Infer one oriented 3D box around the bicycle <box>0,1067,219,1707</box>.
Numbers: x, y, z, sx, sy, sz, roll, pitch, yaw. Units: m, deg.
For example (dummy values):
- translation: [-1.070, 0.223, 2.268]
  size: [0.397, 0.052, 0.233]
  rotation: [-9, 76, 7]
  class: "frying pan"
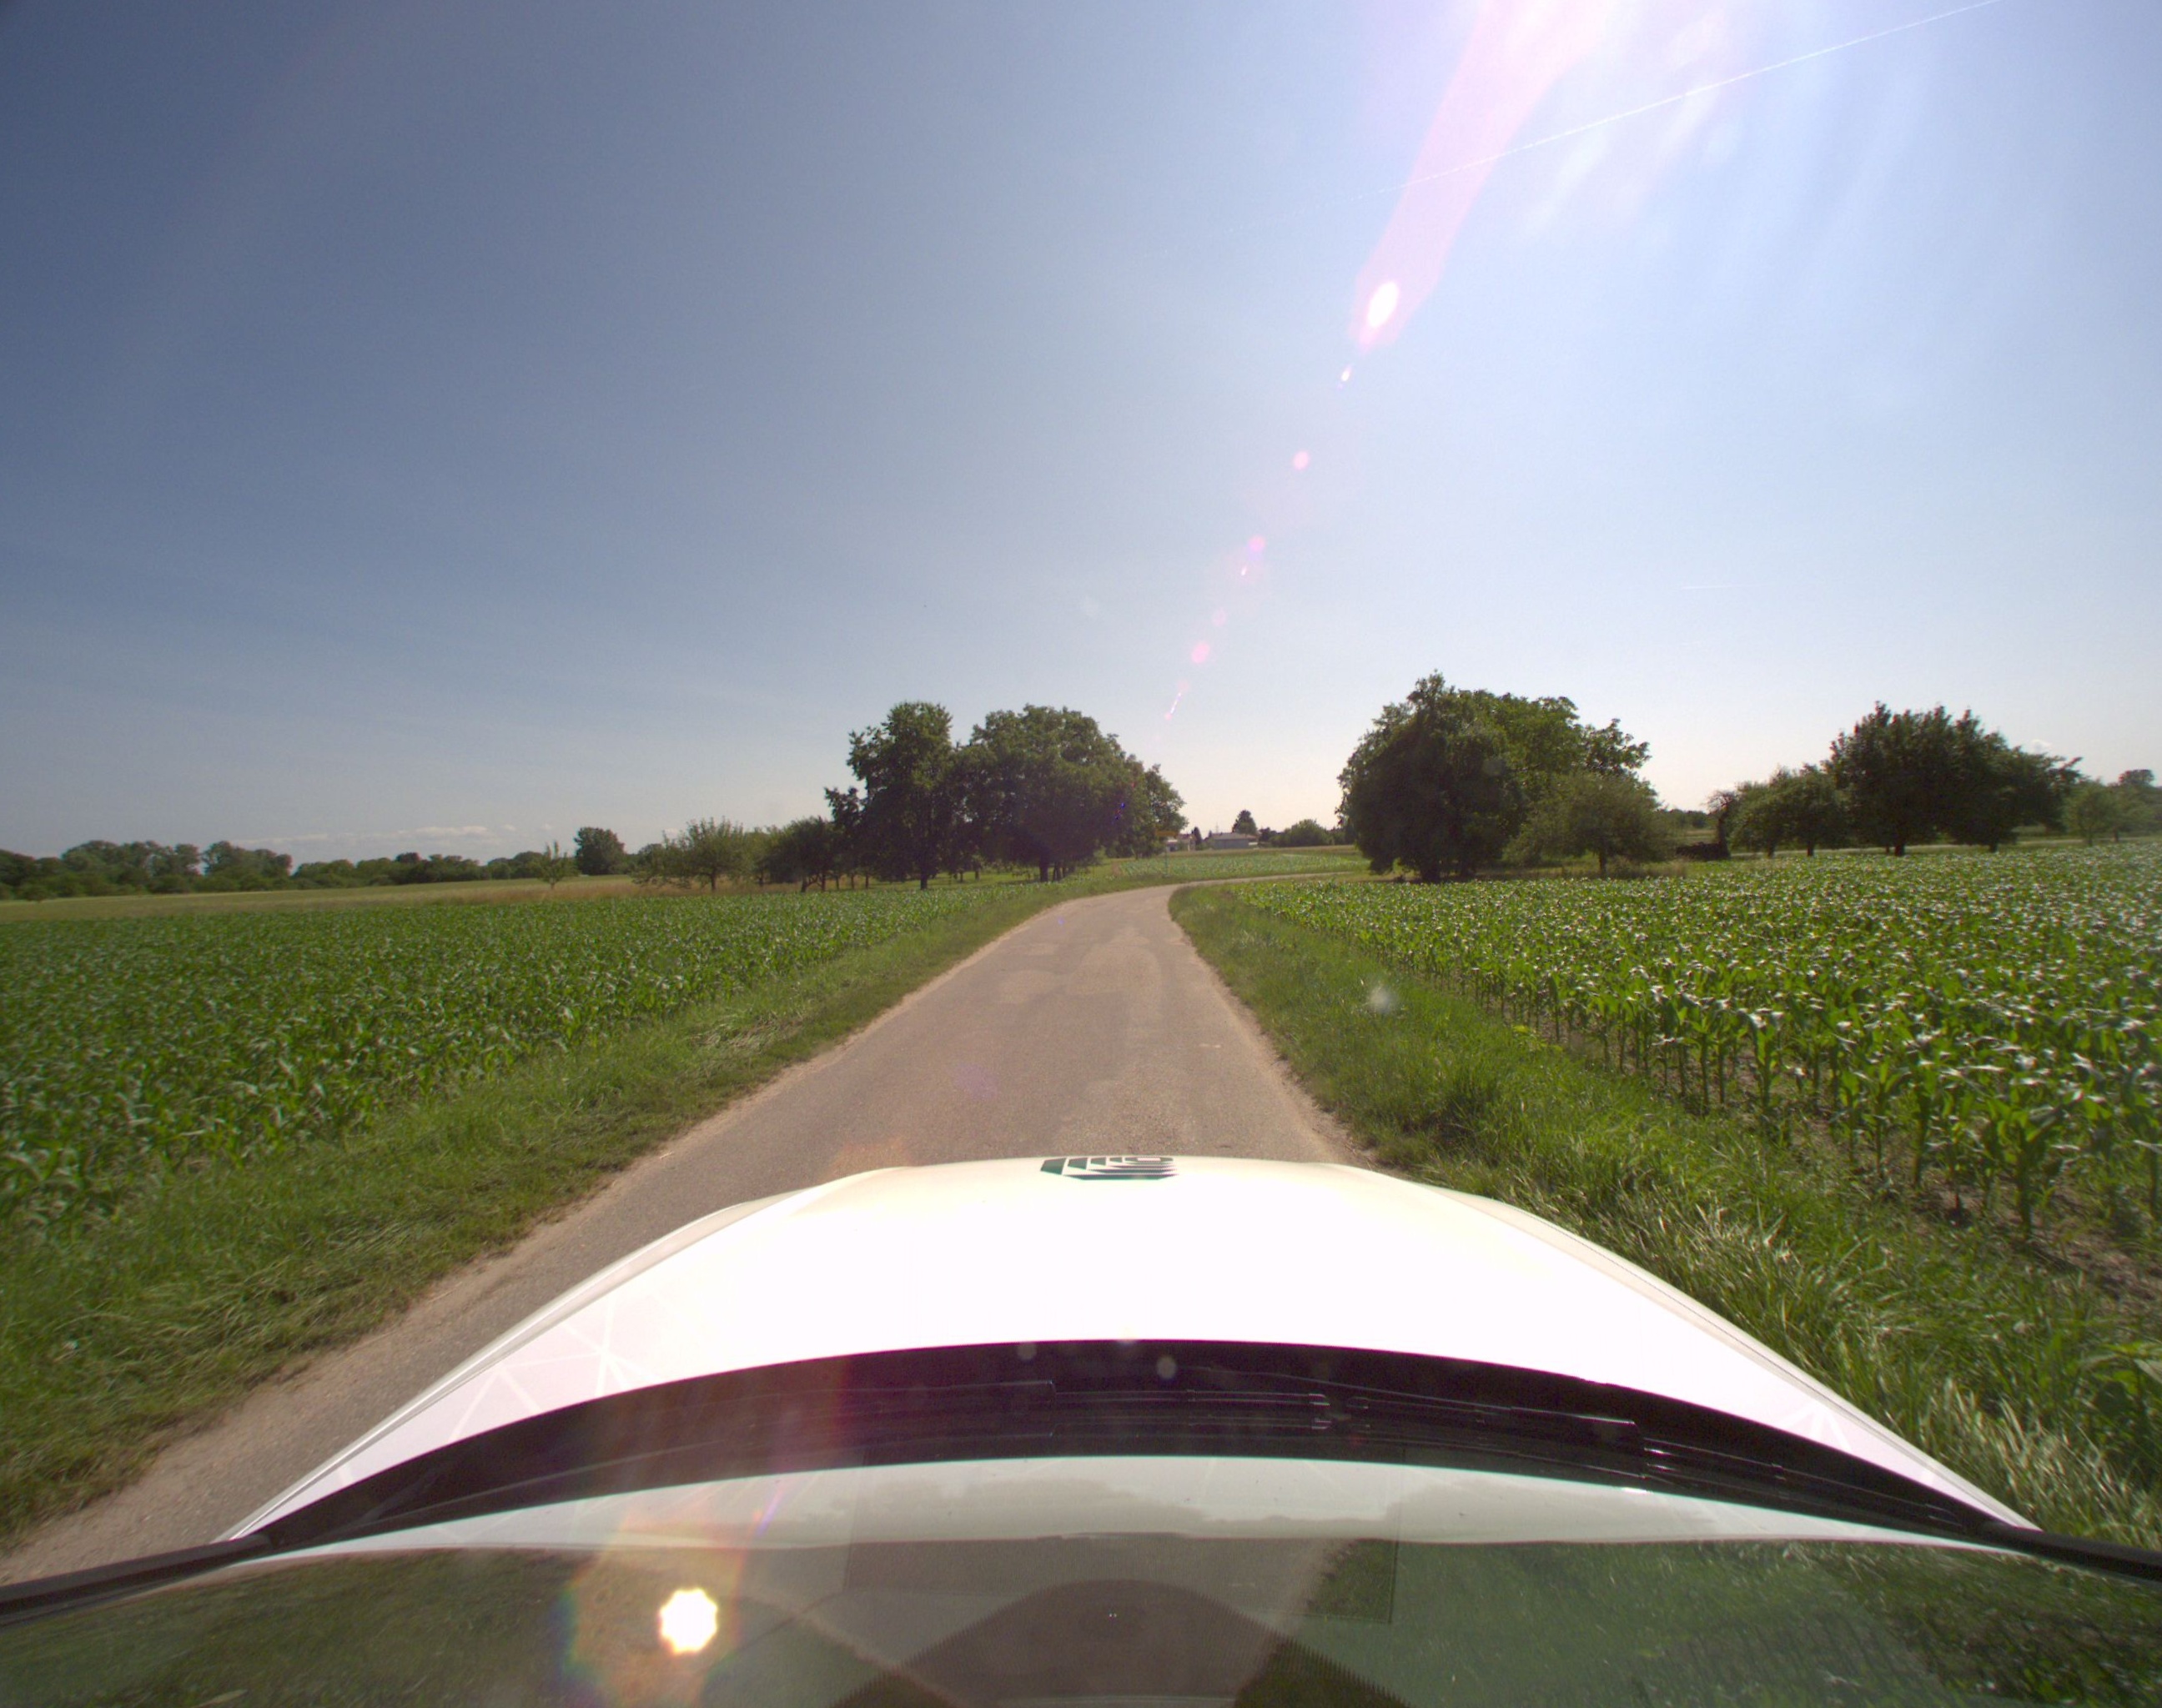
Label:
- translation: [-2.052, 0.986, 0.583]
  size: [0.748, 1.127, 1.909]
  rotation: [-4, 0, 1]
  class: "bicycle"
